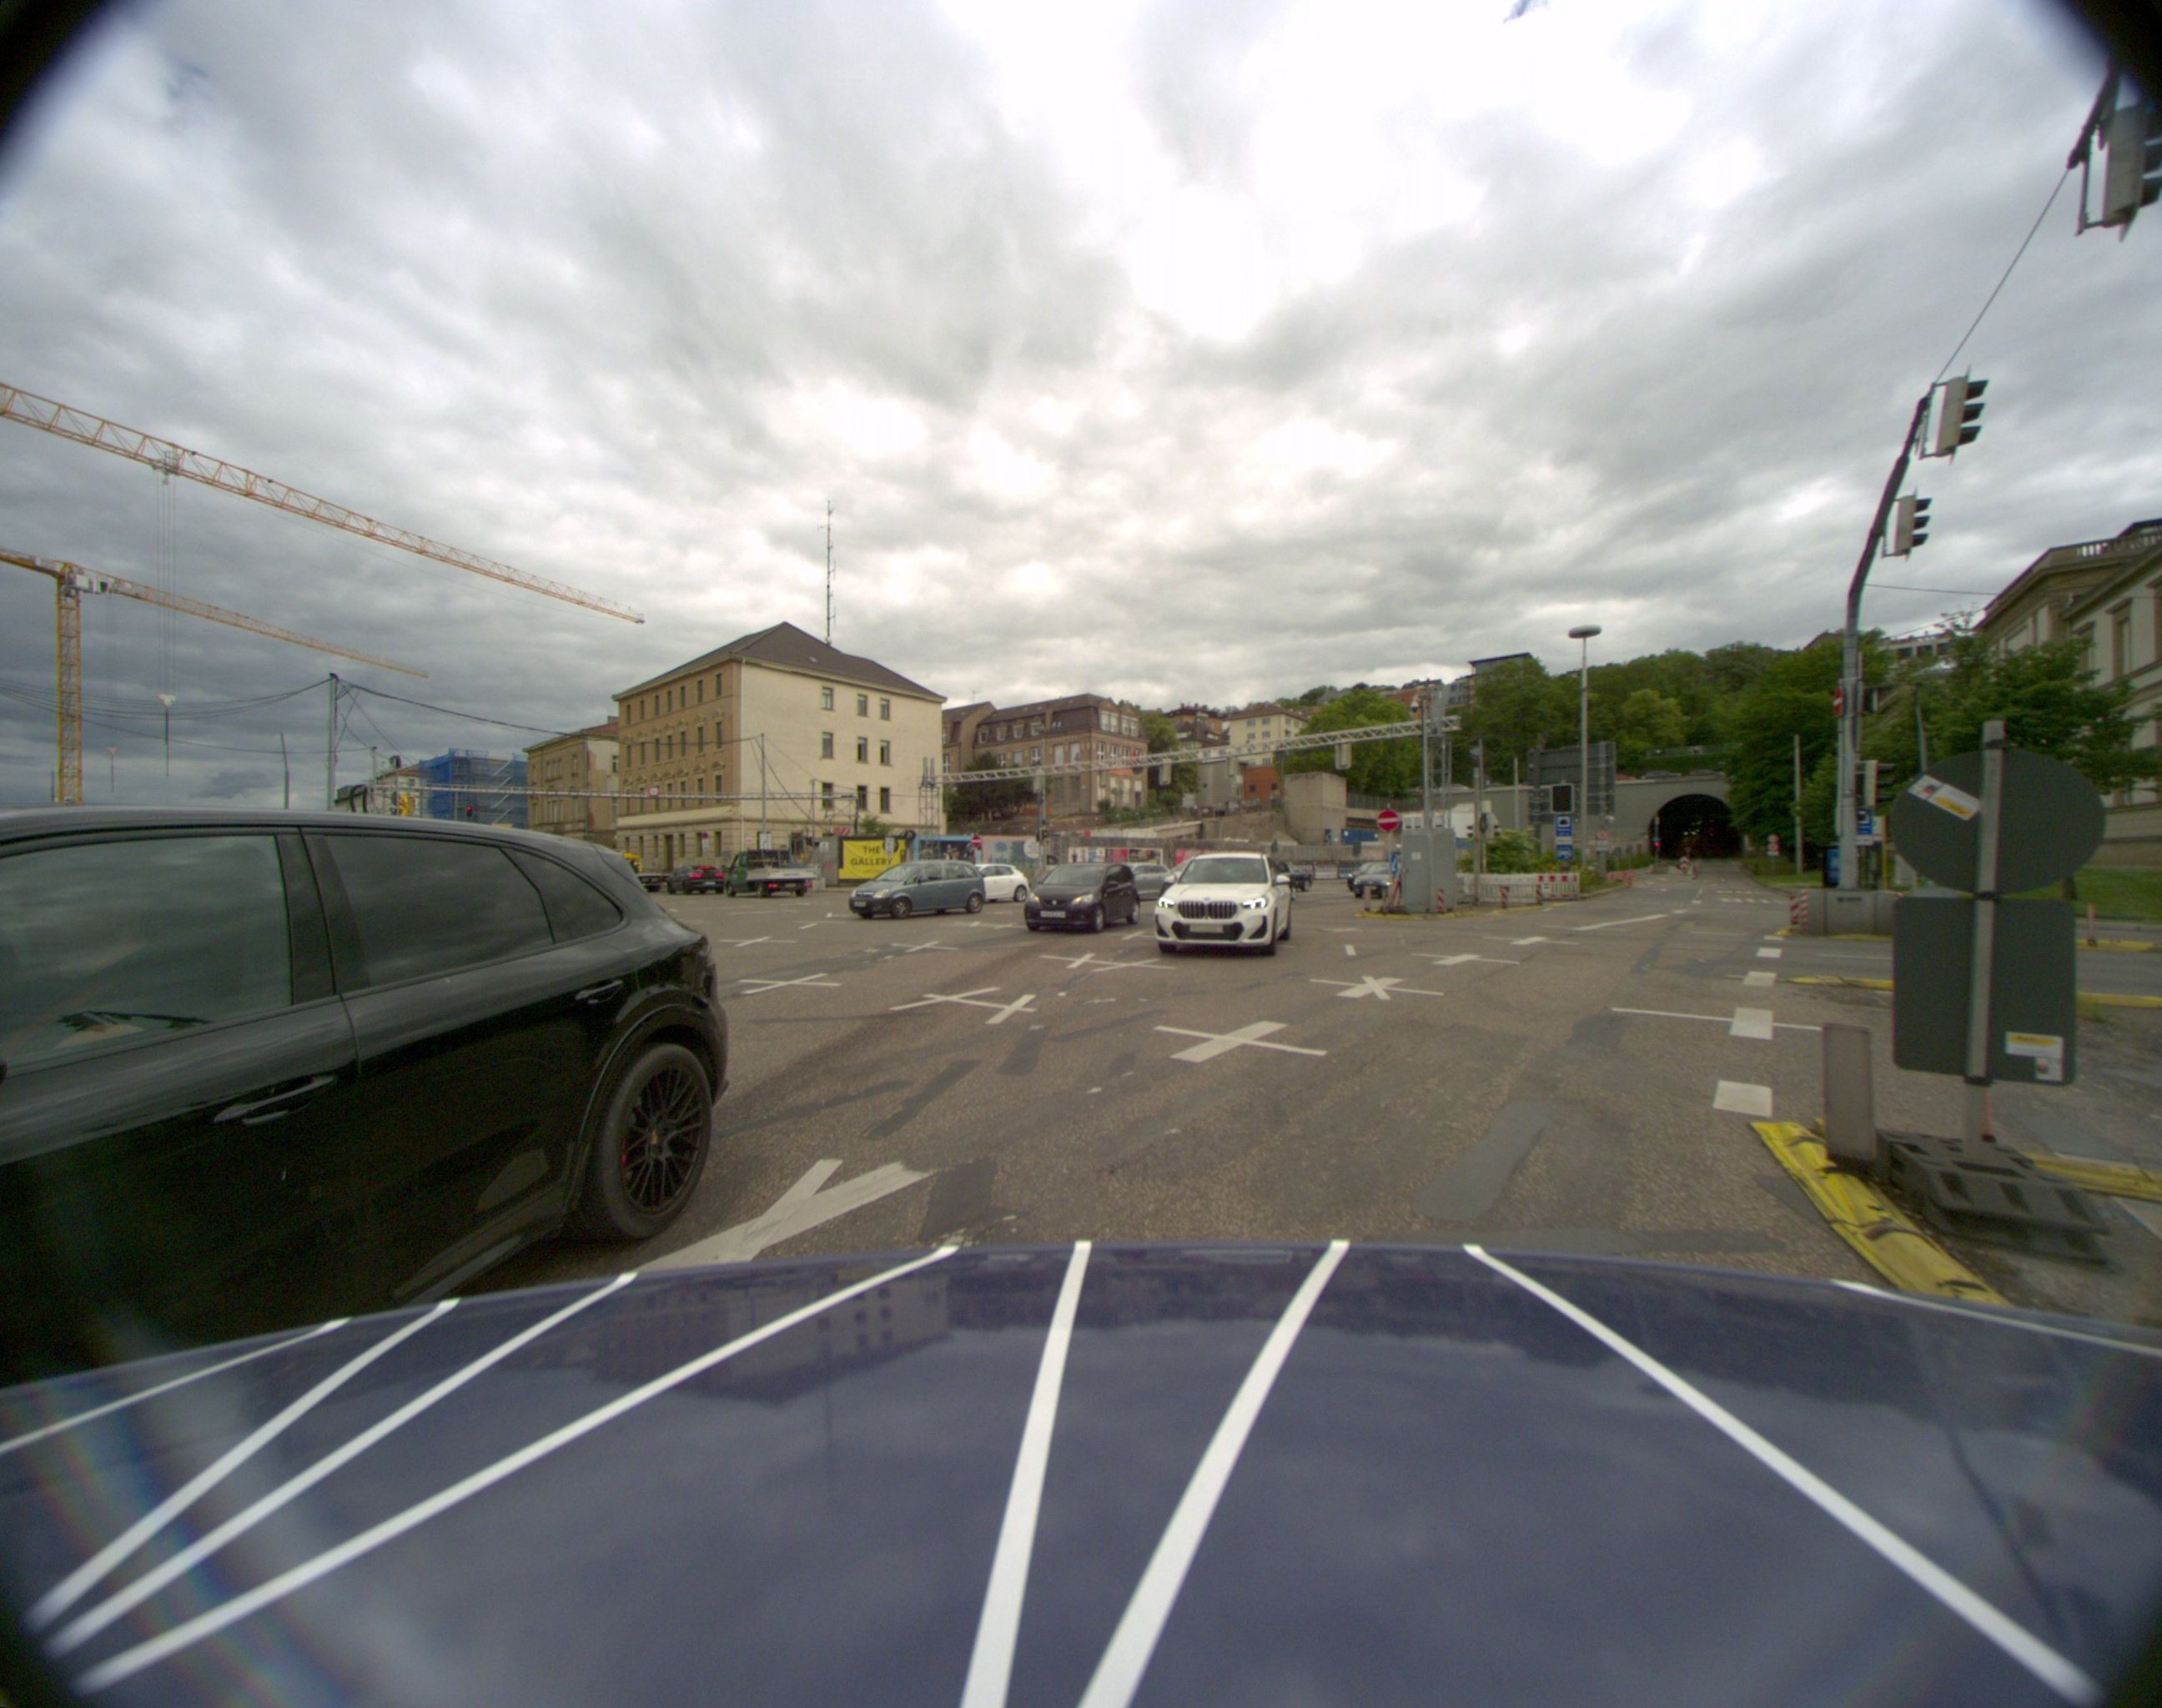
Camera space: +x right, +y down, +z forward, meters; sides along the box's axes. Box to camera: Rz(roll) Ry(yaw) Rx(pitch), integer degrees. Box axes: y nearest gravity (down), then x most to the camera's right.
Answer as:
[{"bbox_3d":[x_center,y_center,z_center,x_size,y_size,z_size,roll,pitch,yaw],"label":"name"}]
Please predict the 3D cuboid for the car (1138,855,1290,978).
[{"bbox_3d":[2.287,0.834,12.217,1.809,1.596,3.718,0,1,20],"label":"car"}]

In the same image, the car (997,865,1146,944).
[{"bbox_3d":[-0.040,0.994,16.568,1.730,1.461,4.427,0,-1,21],"label":"car"}]

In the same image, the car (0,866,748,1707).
[{"bbox_3d":[-2.702,0.879,1.383,1.955,1.638,4.609,0,0,3],"label":"car"}]

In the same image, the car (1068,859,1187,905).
[{"bbox_3d":[1.821,1.007,28.595,1.906,1.569,4.693,0,-1,43],"label":"car"}]

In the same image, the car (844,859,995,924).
[{"bbox_3d":[-4.473,0.975,21.495,1.687,1.565,3.963,0,2,40],"label":"car"}]

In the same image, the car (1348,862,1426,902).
[{"bbox_3d":[12.627,1.093,31.247,1.994,1.543,4.009,0,-1,37],"label":"car"}]

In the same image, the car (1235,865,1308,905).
[{"bbox_3d":[7.219,1.127,28.625,1.574,1.410,3.579,0,-1,34],"label":"car"}]

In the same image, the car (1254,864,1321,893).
[{"bbox_3d":[10.344,1.206,37.937,1.723,1.381,3.712,0,-1,43],"label":"car"}]

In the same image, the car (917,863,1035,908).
[{"bbox_3d":[-3.720,1.093,27.497,1.688,1.407,4.095,-2,-1,40],"label":"car"}]

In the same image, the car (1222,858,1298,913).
[{"bbox_3d":[5.648,0.953,23.630,1.688,1.564,3.720,-1,-2,23],"label":"car"}]

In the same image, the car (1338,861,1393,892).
[{"bbox_3d":[14.876,1.131,39.621,1.994,1.543,4.008,0,-1,31],"label":"car"}]

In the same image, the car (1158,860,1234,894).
[{"bbox_3d":[5.774,1.123,37.736,1.688,1.564,4.080,-3,-2,43],"label":"car"}]
